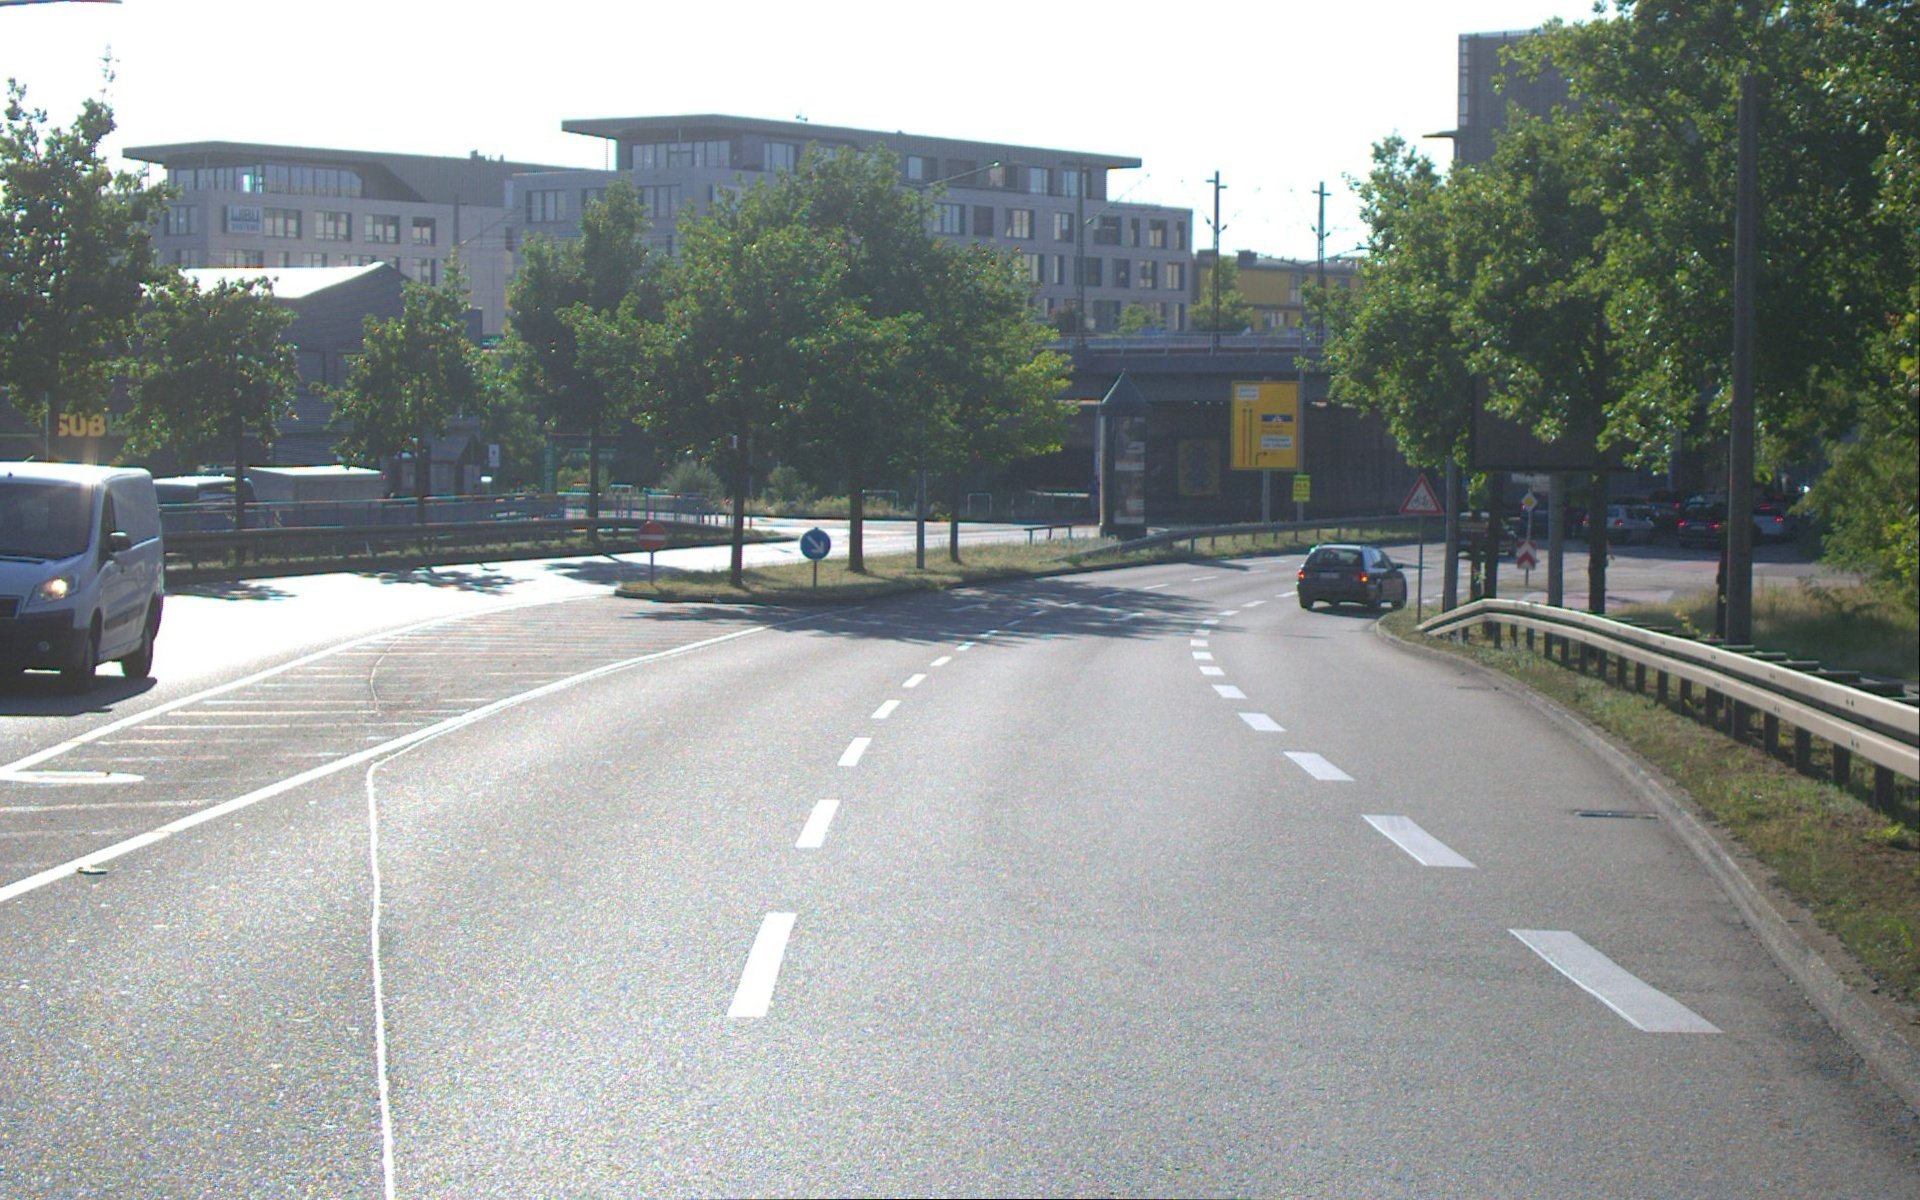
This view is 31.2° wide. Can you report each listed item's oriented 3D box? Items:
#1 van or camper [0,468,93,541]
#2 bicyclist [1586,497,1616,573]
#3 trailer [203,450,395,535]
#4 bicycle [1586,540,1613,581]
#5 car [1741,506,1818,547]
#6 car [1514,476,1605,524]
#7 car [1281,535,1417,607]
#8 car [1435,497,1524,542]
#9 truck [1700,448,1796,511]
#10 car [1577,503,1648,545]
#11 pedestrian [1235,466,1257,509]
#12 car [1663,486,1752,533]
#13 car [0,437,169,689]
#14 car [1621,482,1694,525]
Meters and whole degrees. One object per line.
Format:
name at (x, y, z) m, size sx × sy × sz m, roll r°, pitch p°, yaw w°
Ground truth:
van or camper at (-25.472, -2.591, 92.798) m, size 4.226 × 1.919 × 1.995 m, roll 2°, pitch 2°, yaw 42°
bicyclist at (16.500, -1.676, 88.522) m, size 0.682 × 1.900 × 0.833 m, roll 2°, pitch 3°, yaw 12°
trailer at (-16.320, -2.693, 85.312) m, size 2.420 × 1.963 × 6.603 m, roll 2°, pitch 2°, yaw 10°
bicycle at (16.451, -1.026, 88.421) m, size 0.579 × 0.960 × 2.885 m, roll 2°, pitch 3°, yaw 12°
car at (31.078, -2.802, 130.317) m, size 1.775 × 1.490 × 3.825 m, roll 2°, pitch 2°, yaw 31°
car at (22.440, -3.750, 128.588) m, size 1.832 × 1.732 × 4.454 m, roll 3°, pitch 3°, yaw 31°
car at (8.758, -0.671, 77.103) m, size 1.996 × 1.503 × 3.996 m, roll -1°, pitch 1°, yaw 22°
car at (17.067, -2.655, 112.766) m, size 1.584 × 1.403 × 3.826 m, roll 4°, pitch 3°, yaw 29°
truck at (33.507, -5.122, 146.110) m, size 2.032 × 2.547 × 5.527 m, roll 3°, pitch 3°, yaw 34°
car at (23.670, -2.769, 124.659) m, size 1.549 × 1.418 × 3.412 m, roll -1°, pitch 2°, yaw 28°
pedestrian at (12.722, -4.995, 152.854) m, size 0.695 × 1.897 × 0.663 m, roll 3°, pitch 3°, yaw 35°
car at (26.971, -3.275, 123.997) m, size 1.744 × 1.449 × 4.598 m, roll 4°, pitch 5°, yaw 31°
car at (-8.188, -0.364, 30.119) m, size 1.877 × 2.007 × 5.261 m, roll 1°, pitch 1°, yaw -7°
car at (28.417, -3.939, 139.963) m, size 1.844 × 1.713 × 3.994 m, roll -1°, pitch 1°, yaw 28°
